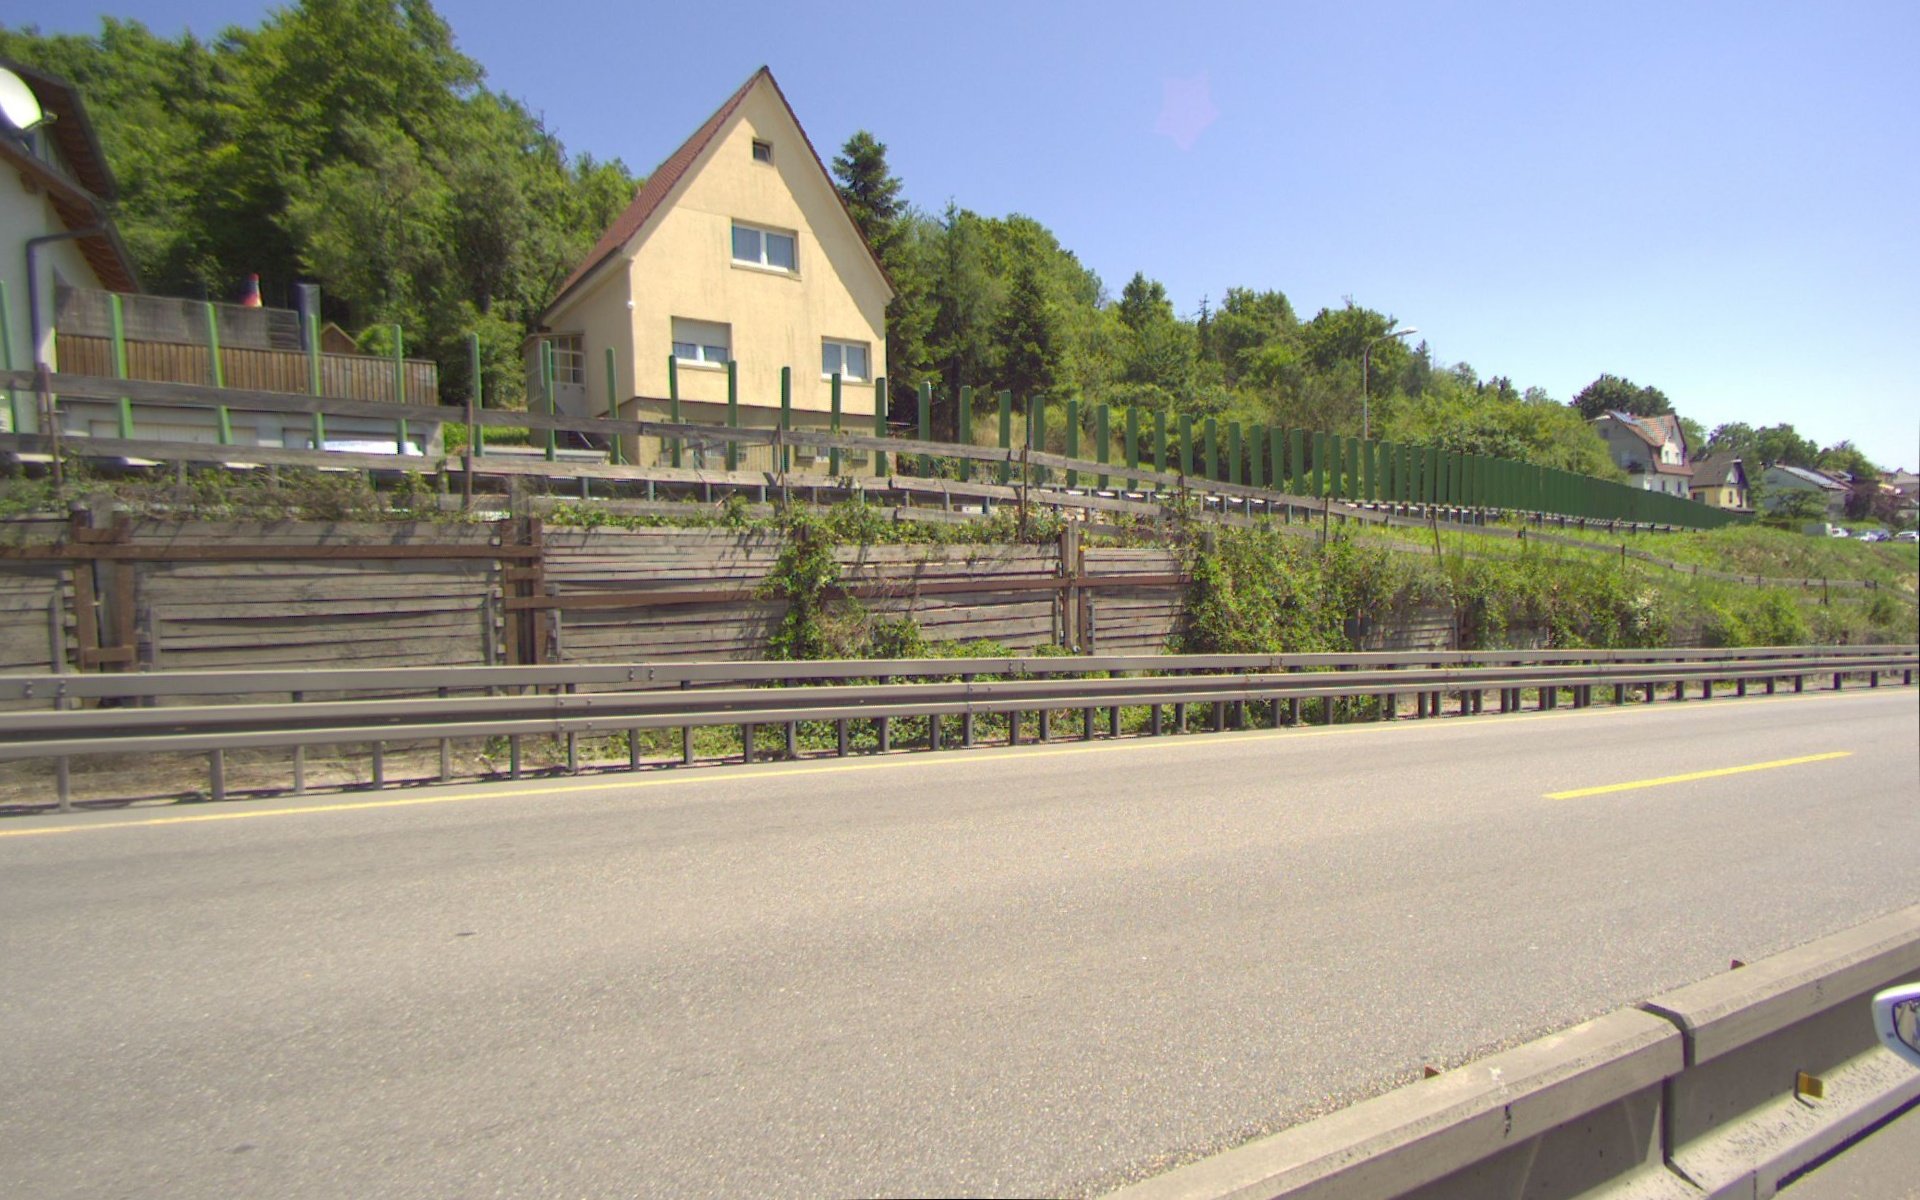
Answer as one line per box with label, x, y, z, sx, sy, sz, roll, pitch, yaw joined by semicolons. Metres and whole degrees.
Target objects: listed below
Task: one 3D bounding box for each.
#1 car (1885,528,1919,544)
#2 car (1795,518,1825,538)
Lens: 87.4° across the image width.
car;94.262;-6.392;100.482;3.968;1.337;1.976;1;3;-40
car;68.947;-5.814;81.448;1.708;1.417;3.780;3;1;42
